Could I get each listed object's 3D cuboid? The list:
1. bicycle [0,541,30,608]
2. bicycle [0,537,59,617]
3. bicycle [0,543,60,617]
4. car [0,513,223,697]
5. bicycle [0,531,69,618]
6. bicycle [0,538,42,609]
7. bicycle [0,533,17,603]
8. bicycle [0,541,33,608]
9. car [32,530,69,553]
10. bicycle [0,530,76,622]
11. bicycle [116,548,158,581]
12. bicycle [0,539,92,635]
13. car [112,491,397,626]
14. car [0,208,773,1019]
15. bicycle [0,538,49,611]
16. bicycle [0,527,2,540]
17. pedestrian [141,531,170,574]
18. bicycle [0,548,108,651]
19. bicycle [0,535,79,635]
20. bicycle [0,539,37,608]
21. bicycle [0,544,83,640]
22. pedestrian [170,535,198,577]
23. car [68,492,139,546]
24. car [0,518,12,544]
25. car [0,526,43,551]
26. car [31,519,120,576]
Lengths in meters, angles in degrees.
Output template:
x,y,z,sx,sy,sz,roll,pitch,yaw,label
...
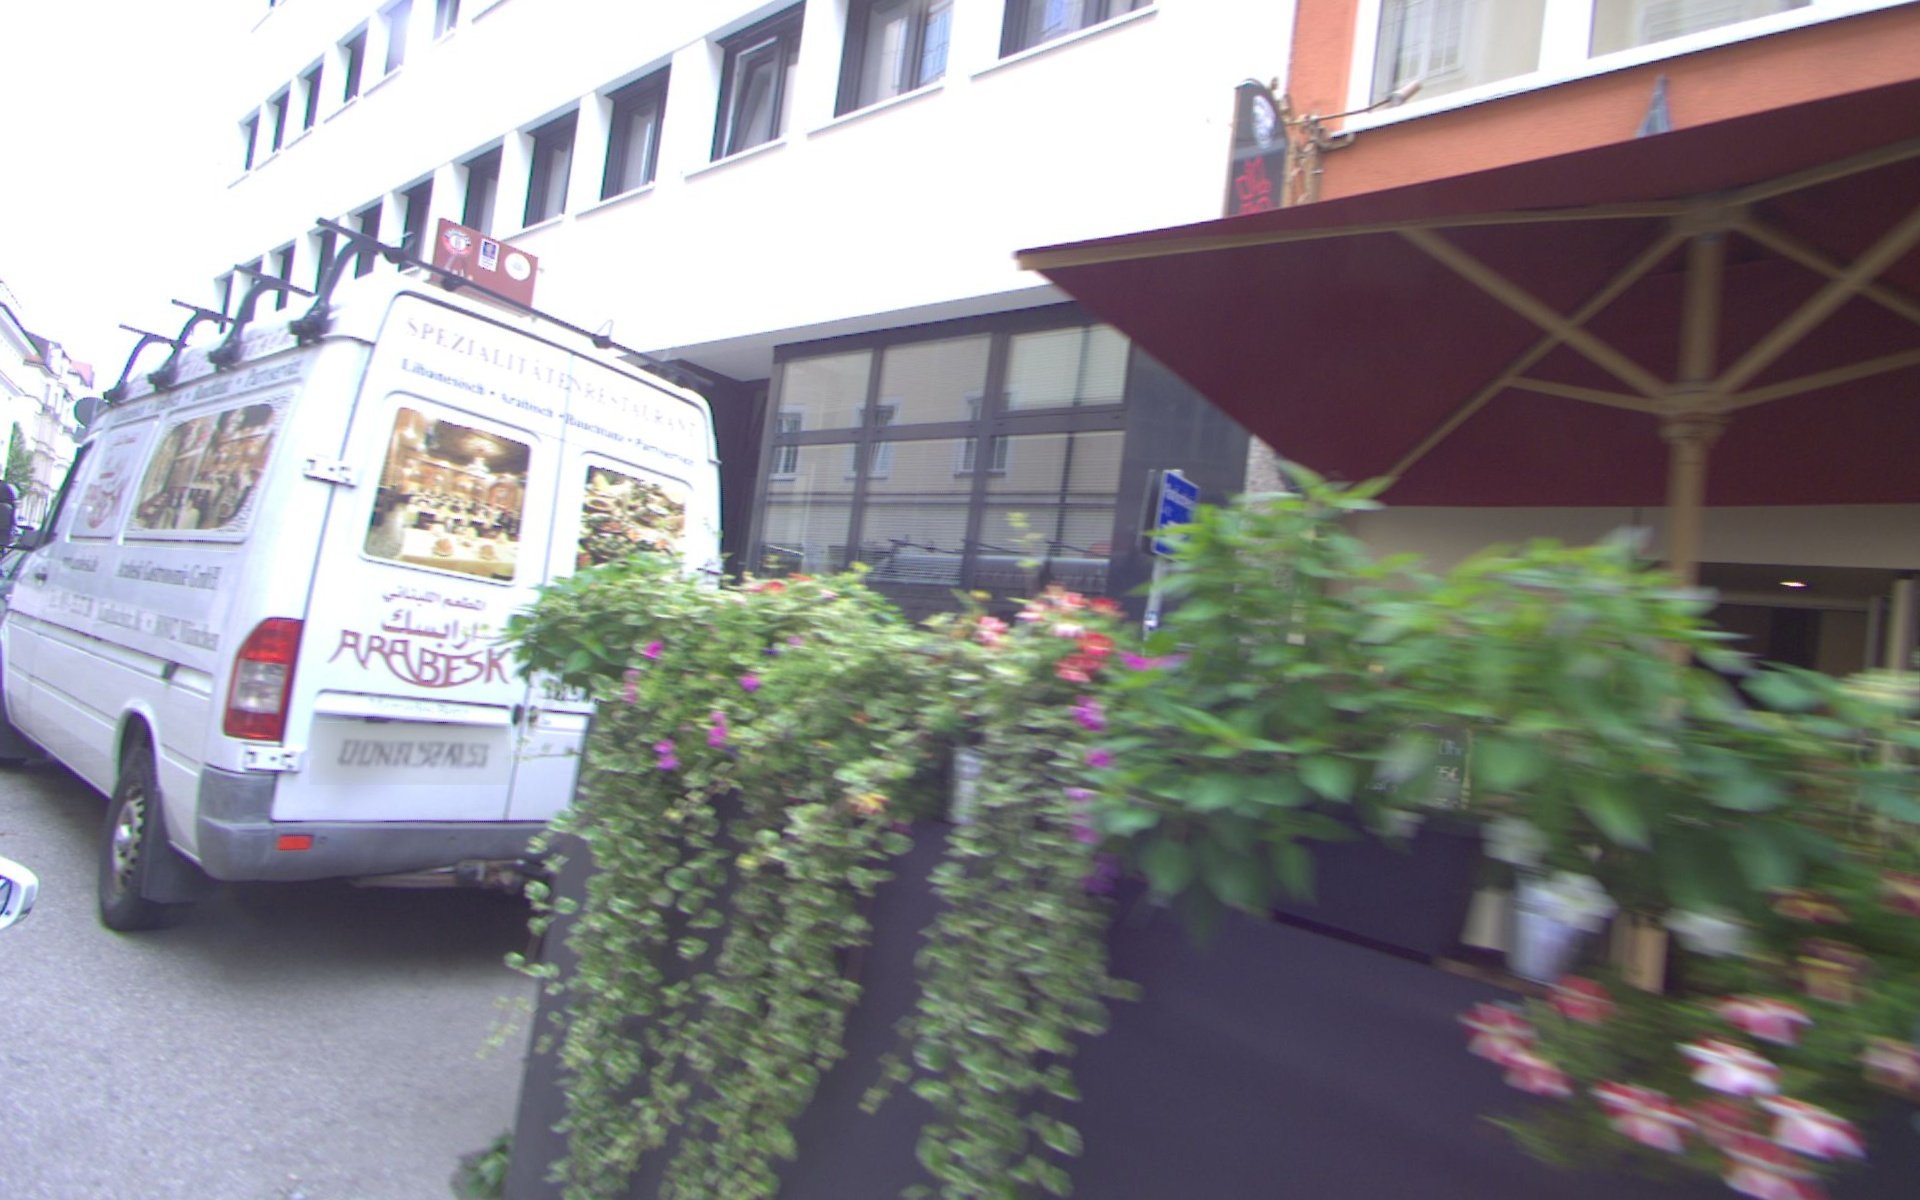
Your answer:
x,y,z,sx,sy,sz,roll,pitch,yaw,label
-16.679,-0.517,16.697,0.331,1.092,1.676,8,-2,37,bicycle
-14.731,-0.429,14.930,0.433,1.107,1.875,8,-2,37,bicycle
-15.201,-0.395,15.455,0.556,1.063,1.875,4,-4,37,bicycle
-9.076,-0.024,10.326,3.502,1.480,1.580,5,-3,41,car
-14.306,-0.450,14.596,0.557,1.183,1.894,6,-2,38,bicycle
-16.089,-0.528,16.130,0.402,1.092,1.875,8,-2,37,bicycle
-17.532,-0.670,17.503,0.389,1.221,1.454,7,-3,33,bicycle
-16.952,-0.536,17.006,0.445,1.092,1.742,8,-2,37,bicycle
-70.587,-4.559,78.151,1.727,1.435,3.958,10,-4,-39,car
-13.834,-0.410,14.199,0.571,1.218,1.874,6,-2,38,bicycle
-28.866,-1.248,35.281,1.726,1.011,0.539,6,1,31,bicycle
-13.260,-0.251,13.777,0.557,1.169,1.876,8,-4,38,bicycle
-19.098,-1.054,27.505,2.033,2.620,5.885,7,-3,45,car
-3.892,-0.059,5.751,5.911,2.533,1.921,6,-4,40,car
-15.738,-0.504,15.875,0.396,1.092,1.875,8,-2,37,bicycle
-18.645,-0.826,18.405,0.439,1.299,1.456,6,-3,41,bicycle
-38.019,-2.237,47.565,0.774,1.872,1.013,9,-2,-35,pedestrian
-11.691,-0.071,12.199,0.481,1.091,1.877,8,-4,38,bicycle
-12.889,-0.272,13.168,0.481,1.217,1.875,8,-2,38,bicycle
-16.344,-0.522,16.503,0.372,1.092,1.614,8,-2,37,bicycle
-12.527,-0.185,12.811,0.481,1.120,1.876,8,-4,38,bicycle
-36.937,-2.094,47.880,0.774,1.872,1.013,9,-2,-35,pedestrian
-38.577,-3.597,45.423,1.813,1.890,4.249,12,-5,-35,car
-53.419,-3.923,54.791,1.897,1.343,3.964,10,-4,-35,car
-60.218,-3.927,64.231,1.898,1.235,3.961,10,-4,-37,car
-32.515,-1.905,37.105,1.813,1.652,4.249,12,-5,-35,car
